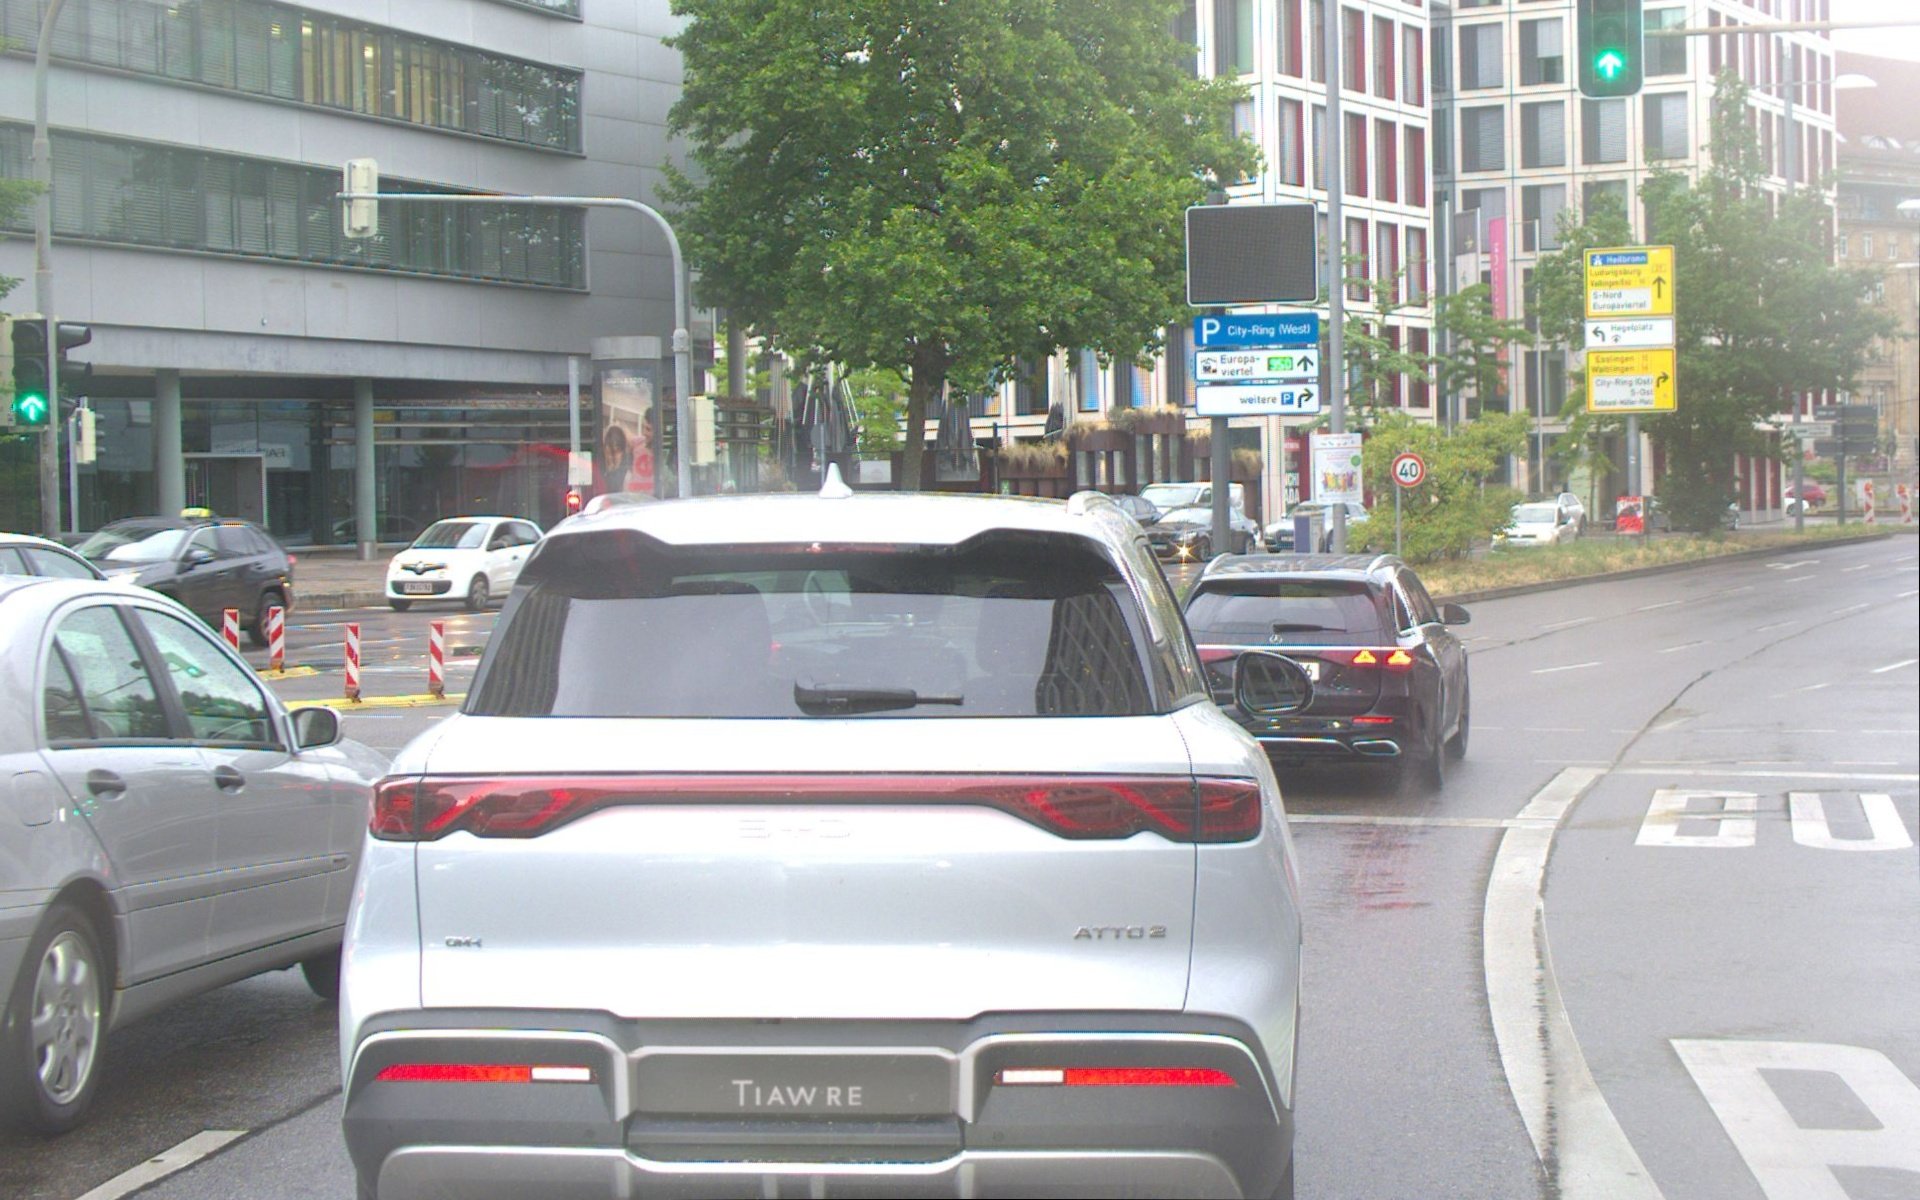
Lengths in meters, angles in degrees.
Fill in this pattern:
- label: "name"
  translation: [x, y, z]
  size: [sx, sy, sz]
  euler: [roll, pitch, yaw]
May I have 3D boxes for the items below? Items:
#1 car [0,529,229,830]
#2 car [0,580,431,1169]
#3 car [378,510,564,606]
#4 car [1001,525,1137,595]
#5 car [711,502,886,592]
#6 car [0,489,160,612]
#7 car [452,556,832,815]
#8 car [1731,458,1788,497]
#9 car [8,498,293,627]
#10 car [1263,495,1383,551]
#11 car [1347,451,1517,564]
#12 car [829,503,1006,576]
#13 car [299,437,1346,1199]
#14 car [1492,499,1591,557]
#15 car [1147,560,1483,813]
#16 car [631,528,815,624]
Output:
- label: "car"
  translation: [-5.396, 0.374, 18.059]
  size: [1.707, 1.481, 3.998]
  euler: [1, 0, 9]
- label: "car"
  translation: [-2.876, 0.650, 9.825]
  size: [1.571, 1.402, 4.108]
  euler: [1, 0, 8]
- label: "car"
  translation: [-8.314, -0.705, 58.729]
  size: [1.640, 1.565, 3.715]
  euler: [1, 0, 19]
- label: "car"
  translation: [2.611, -0.964, 81.148]
  size: [1.633, 1.553, 4.588]
  euler: [0, 2, 23]
- label: "car"
  translation: [-2.893, -0.975, 62.373]
  size: [1.645, 1.575, 4.081]
  euler: [1, 1, 21]
- label: "car"
  translation: [-12.977, -0.707, 47.196]
  size: [1.996, 1.605, 3.996]
  euler: [2, 2, 20]
- label: "car"
  translation: [-1.933, 0.483, 21.992]
  size: [1.571, 1.481, 3.999]
  euler: [1, 0, 7]
- label: "car"
  translation: [37.971, -5.805, 163.335]
  size: [1.609, 1.735, 3.439]
  euler: [1, 0, 32]
- label: "car"
  translation: [-10.103, -0.493, 43.206]
  size: [1.645, 1.530, 4.149]
  euler: [1, 1, 17]
- label: "car"
  translation: [10.066, -2.147, 95.170]
  size: [1.996, 1.483, 3.994]
  euler: [0, 2, 27]
- label: "car"
  translation: [8.941, -1.706, 64.774]
  size: [1.996, 2.007, 4.843]
  euler: [1, 0, 23]
- label: "car"
  translation: [-0.869, -1.342, 74.731]
  size: [1.816, 1.505, 5.189]
  euler: [0, 2, 24]
- label: "car"
  translation: [-0.192, 0.553, 7.867]
  size: [1.776, 1.673, 4.000]
  euler: [1, 0, 1]
- label: "car"
  translation: [14.959, -1.873, 88.310]
  size: [1.633, 1.432, 3.903]
  euler: [0, 2, 23]
- label: "car"
  translation: [2.406, 0.500, 22.497]
  size: [1.694, 1.481, 3.998]
  euler: [1, 0, 13]
- label: "car"
  translation: [-3.571, -0.362, 52.442]
  size: [1.691, 1.380, 3.866]
  euler: [1, 0, 14]
